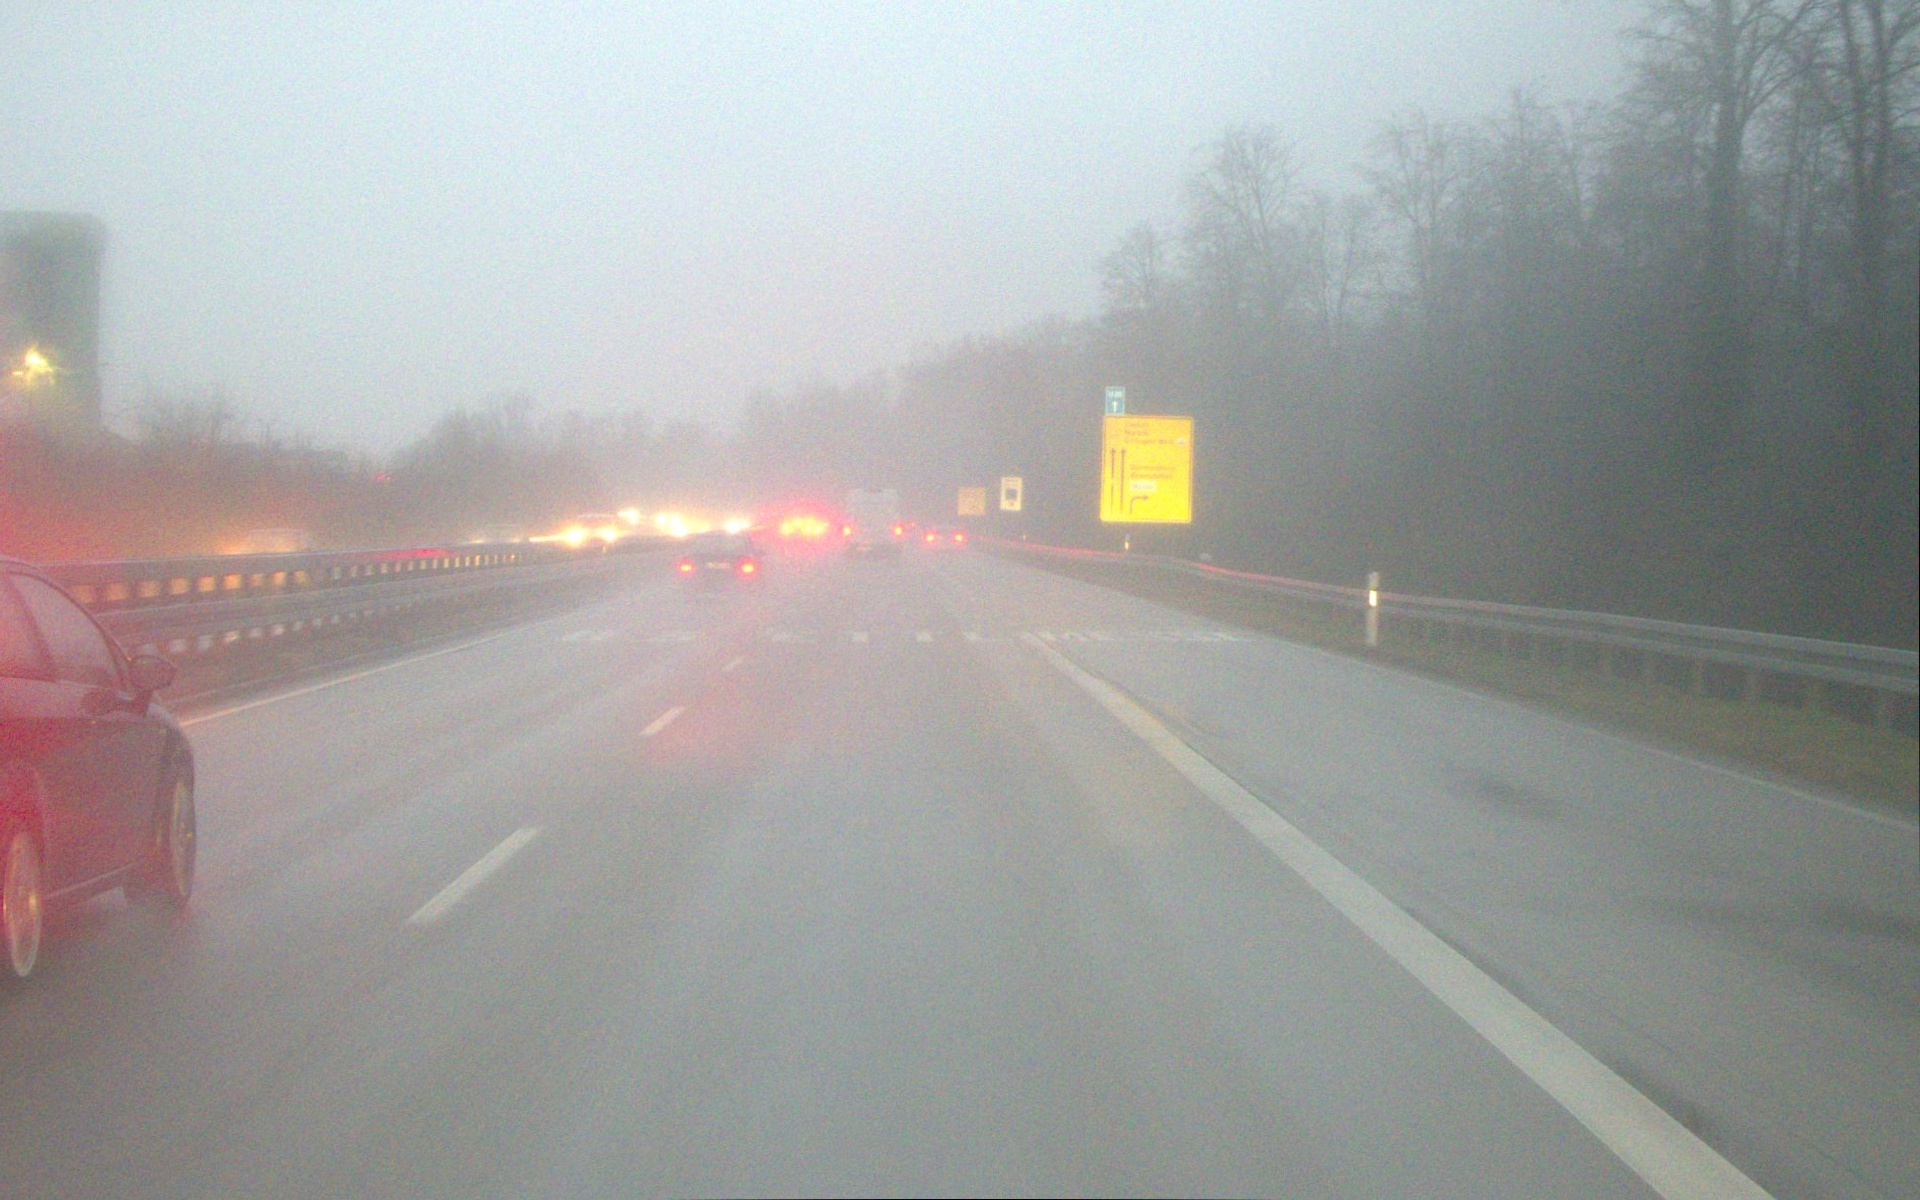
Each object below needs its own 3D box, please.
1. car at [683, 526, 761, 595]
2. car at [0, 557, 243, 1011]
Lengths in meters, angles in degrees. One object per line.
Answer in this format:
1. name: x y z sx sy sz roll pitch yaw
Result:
1. car: -4.855 -0.822 70.371 1.416 1.312 3.083 2 1 -1
2. car: -3.843 0.548 12.819 1.625 1.387 4.001 2 1 -2
